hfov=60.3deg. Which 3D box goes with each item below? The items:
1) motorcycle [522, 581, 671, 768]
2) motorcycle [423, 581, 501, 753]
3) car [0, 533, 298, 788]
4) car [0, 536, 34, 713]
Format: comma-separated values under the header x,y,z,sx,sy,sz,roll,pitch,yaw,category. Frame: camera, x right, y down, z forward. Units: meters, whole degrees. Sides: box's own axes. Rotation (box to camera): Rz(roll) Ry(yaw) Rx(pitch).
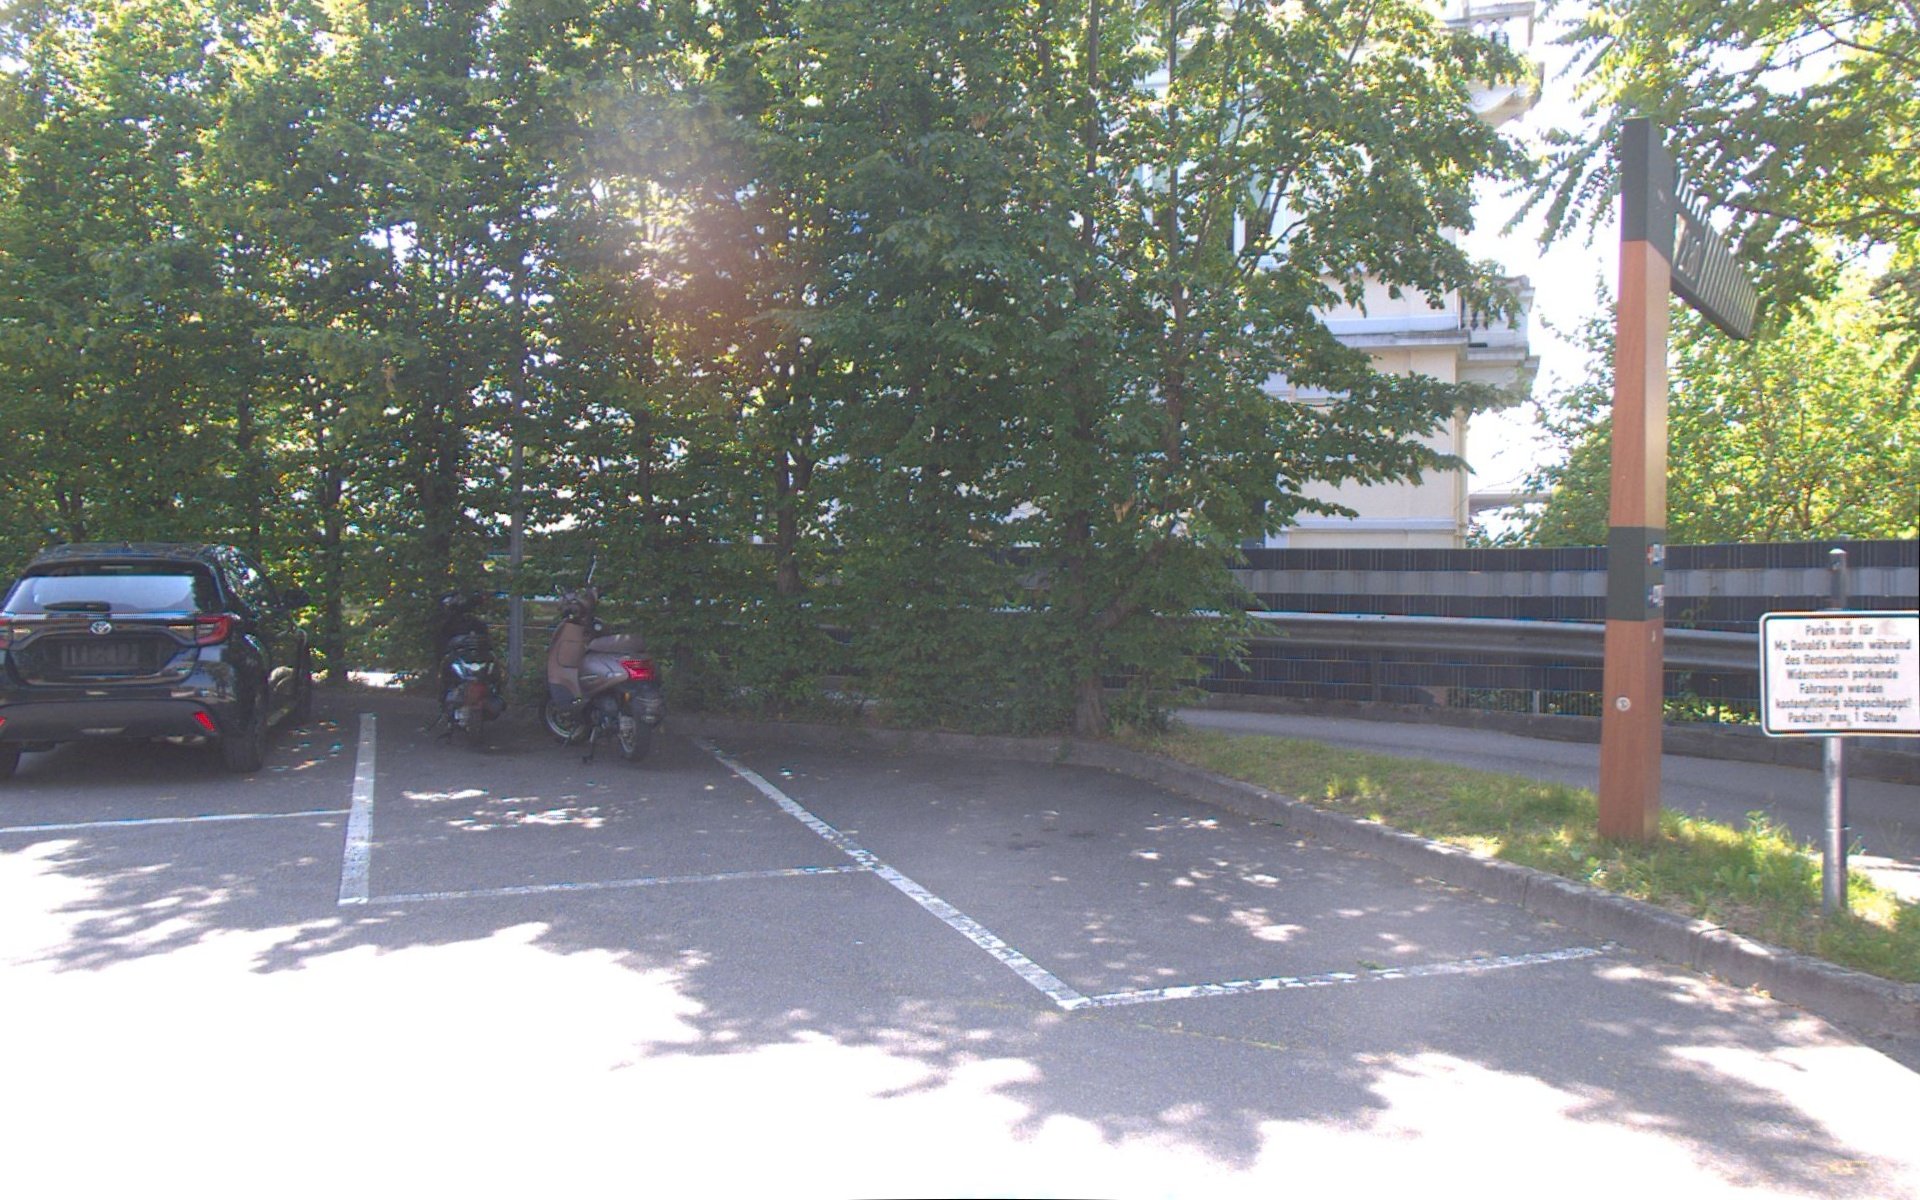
x,y,z,sx,sy,sz,roll,pitch,yaw,category
-2.560,0.472,11.526,0.562,1.189,1.589,-1,2,-30,motorcycle
-3.717,0.455,12.302,0.466,1.160,1.596,0,2,-20,motorcycle
-5.879,0.283,11.998,1.629,1.495,3.887,-1,3,-17,car
-8.651,0.274,12.686,1.670,1.478,3.986,-1,3,-14,car
